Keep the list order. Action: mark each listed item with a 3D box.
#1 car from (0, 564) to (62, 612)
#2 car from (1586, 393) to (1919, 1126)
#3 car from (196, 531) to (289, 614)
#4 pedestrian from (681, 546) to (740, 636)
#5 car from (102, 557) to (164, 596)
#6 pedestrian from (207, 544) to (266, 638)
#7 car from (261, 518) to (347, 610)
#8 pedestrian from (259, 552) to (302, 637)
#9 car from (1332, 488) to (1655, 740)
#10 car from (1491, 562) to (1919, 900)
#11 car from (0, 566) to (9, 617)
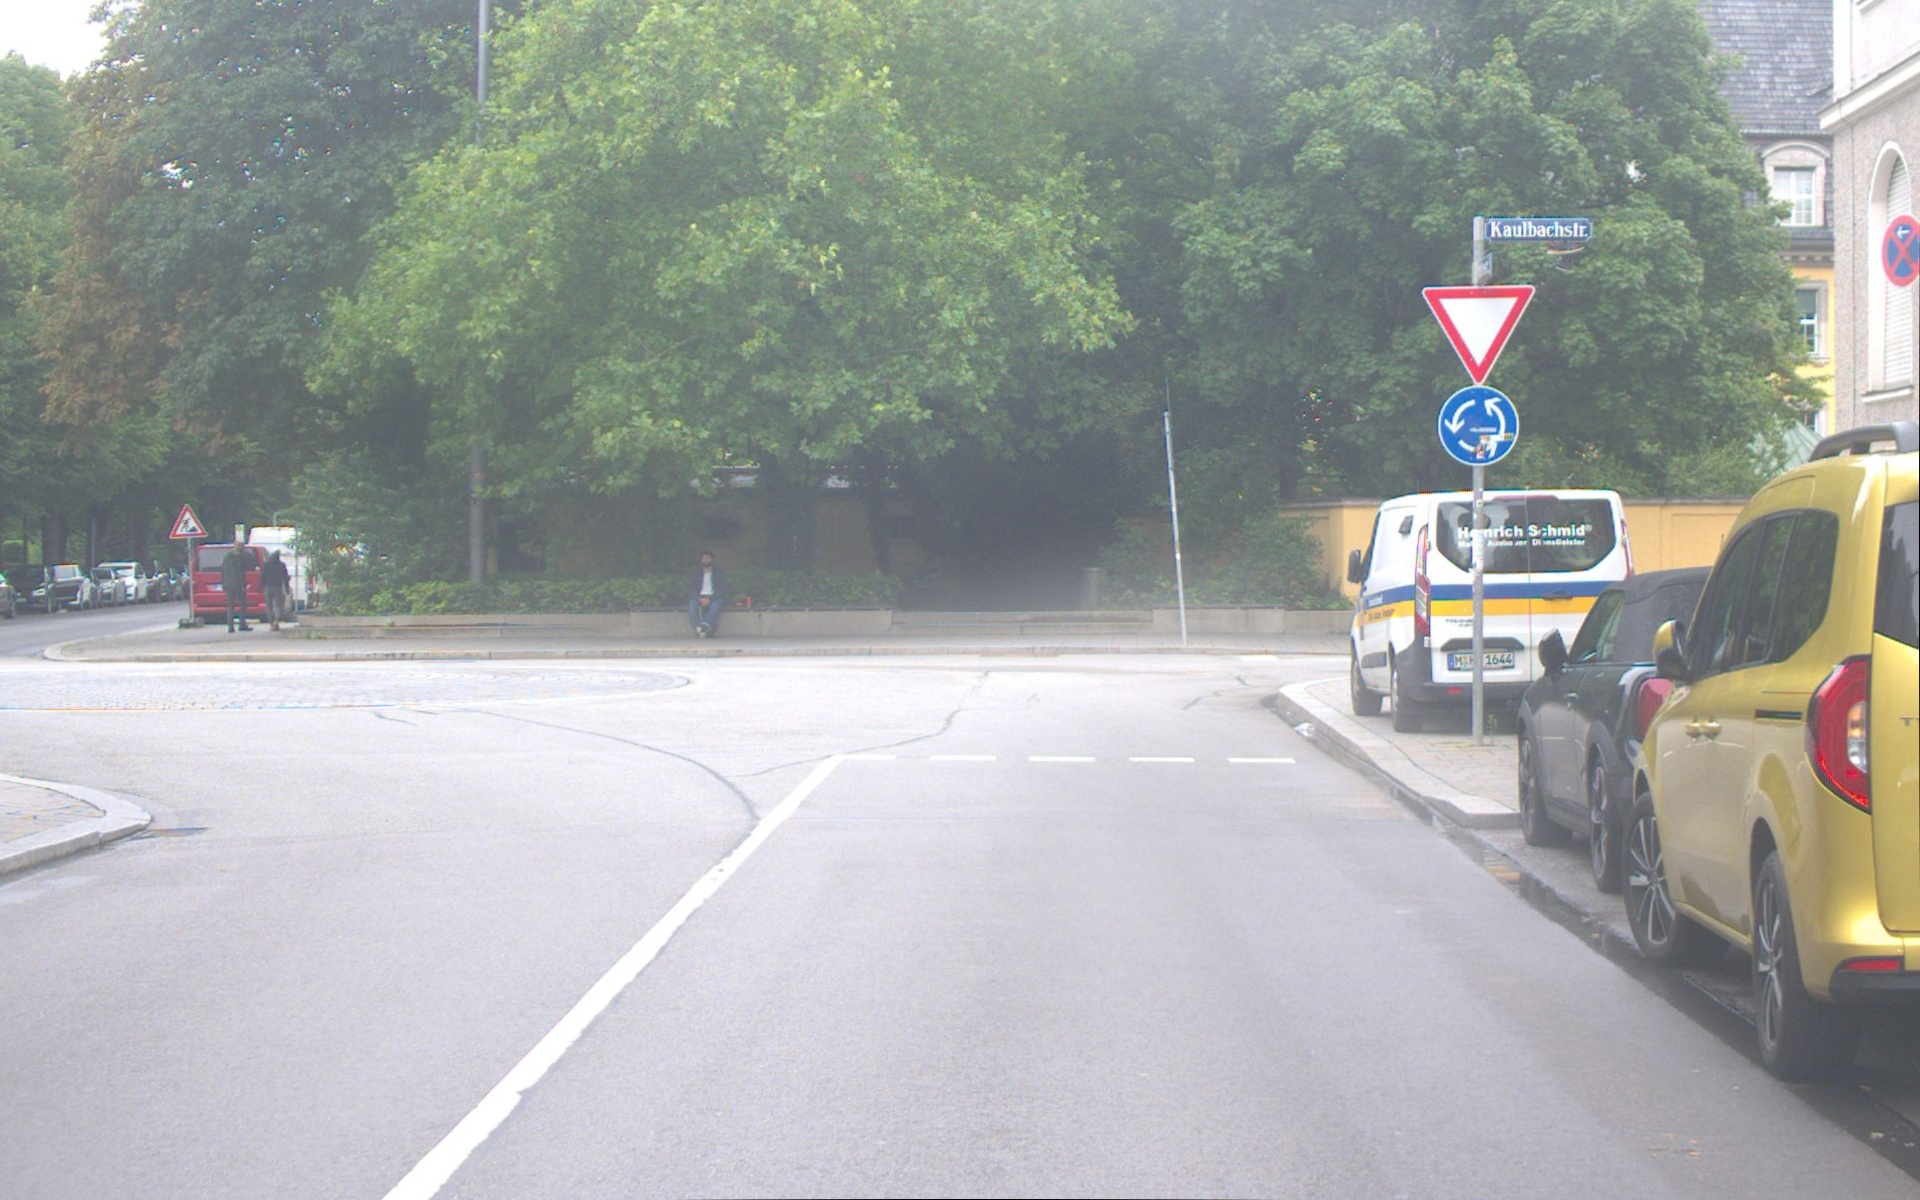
[{"bbox_3d":[-29.668,-0.394,108.888,1.993,1.481,4.130,0,1,-9],"label":"car"},{"bbox_3d":[3.308,0.379,11.194,1.994,1.912,4.570,0,1,4],"label":"car"},{"bbox_3d":[-17.184,-0.674,82.485,1.911,1.930,4.970,0,1,-9],"label":"car"},{"bbox_3d":[-3.807,-0.143,52.536,0.769,1.352,1.131,0,1,3],"label":"pedestrian"},{"bbox_3d":[-31.556,-0.903,131.292,1.993,1.481,4.130,0,1,-9],"label":"car"},{"bbox_3d":[-14.275,-0.183,67.830,0.820,1.830,0.952,-1,1,-33],"label":"pedestrian"},{"bbox_3d":[-18.689,-1.034,98.128,1.993,2.549,5.431,0,1,-6],"label":"car"},{"bbox_3d":[-13.365,-0.110,67.622,0.633,1.661,0.697,-1,1,-28],"label":"pedestrian"},{"bbox_3d":[4.446,0.065,29.460,1.938,1.915,5.374,-1,1,1],"label":"car"},{"bbox_3d":[3.701,0.549,16.800,1.712,1.440,3.827,0,1,2],"label":"car"},{"bbox_3d":[-27.694,-0.221,95.570,1.993,1.415,4.130,0,1,-9],"label":"car"}]
